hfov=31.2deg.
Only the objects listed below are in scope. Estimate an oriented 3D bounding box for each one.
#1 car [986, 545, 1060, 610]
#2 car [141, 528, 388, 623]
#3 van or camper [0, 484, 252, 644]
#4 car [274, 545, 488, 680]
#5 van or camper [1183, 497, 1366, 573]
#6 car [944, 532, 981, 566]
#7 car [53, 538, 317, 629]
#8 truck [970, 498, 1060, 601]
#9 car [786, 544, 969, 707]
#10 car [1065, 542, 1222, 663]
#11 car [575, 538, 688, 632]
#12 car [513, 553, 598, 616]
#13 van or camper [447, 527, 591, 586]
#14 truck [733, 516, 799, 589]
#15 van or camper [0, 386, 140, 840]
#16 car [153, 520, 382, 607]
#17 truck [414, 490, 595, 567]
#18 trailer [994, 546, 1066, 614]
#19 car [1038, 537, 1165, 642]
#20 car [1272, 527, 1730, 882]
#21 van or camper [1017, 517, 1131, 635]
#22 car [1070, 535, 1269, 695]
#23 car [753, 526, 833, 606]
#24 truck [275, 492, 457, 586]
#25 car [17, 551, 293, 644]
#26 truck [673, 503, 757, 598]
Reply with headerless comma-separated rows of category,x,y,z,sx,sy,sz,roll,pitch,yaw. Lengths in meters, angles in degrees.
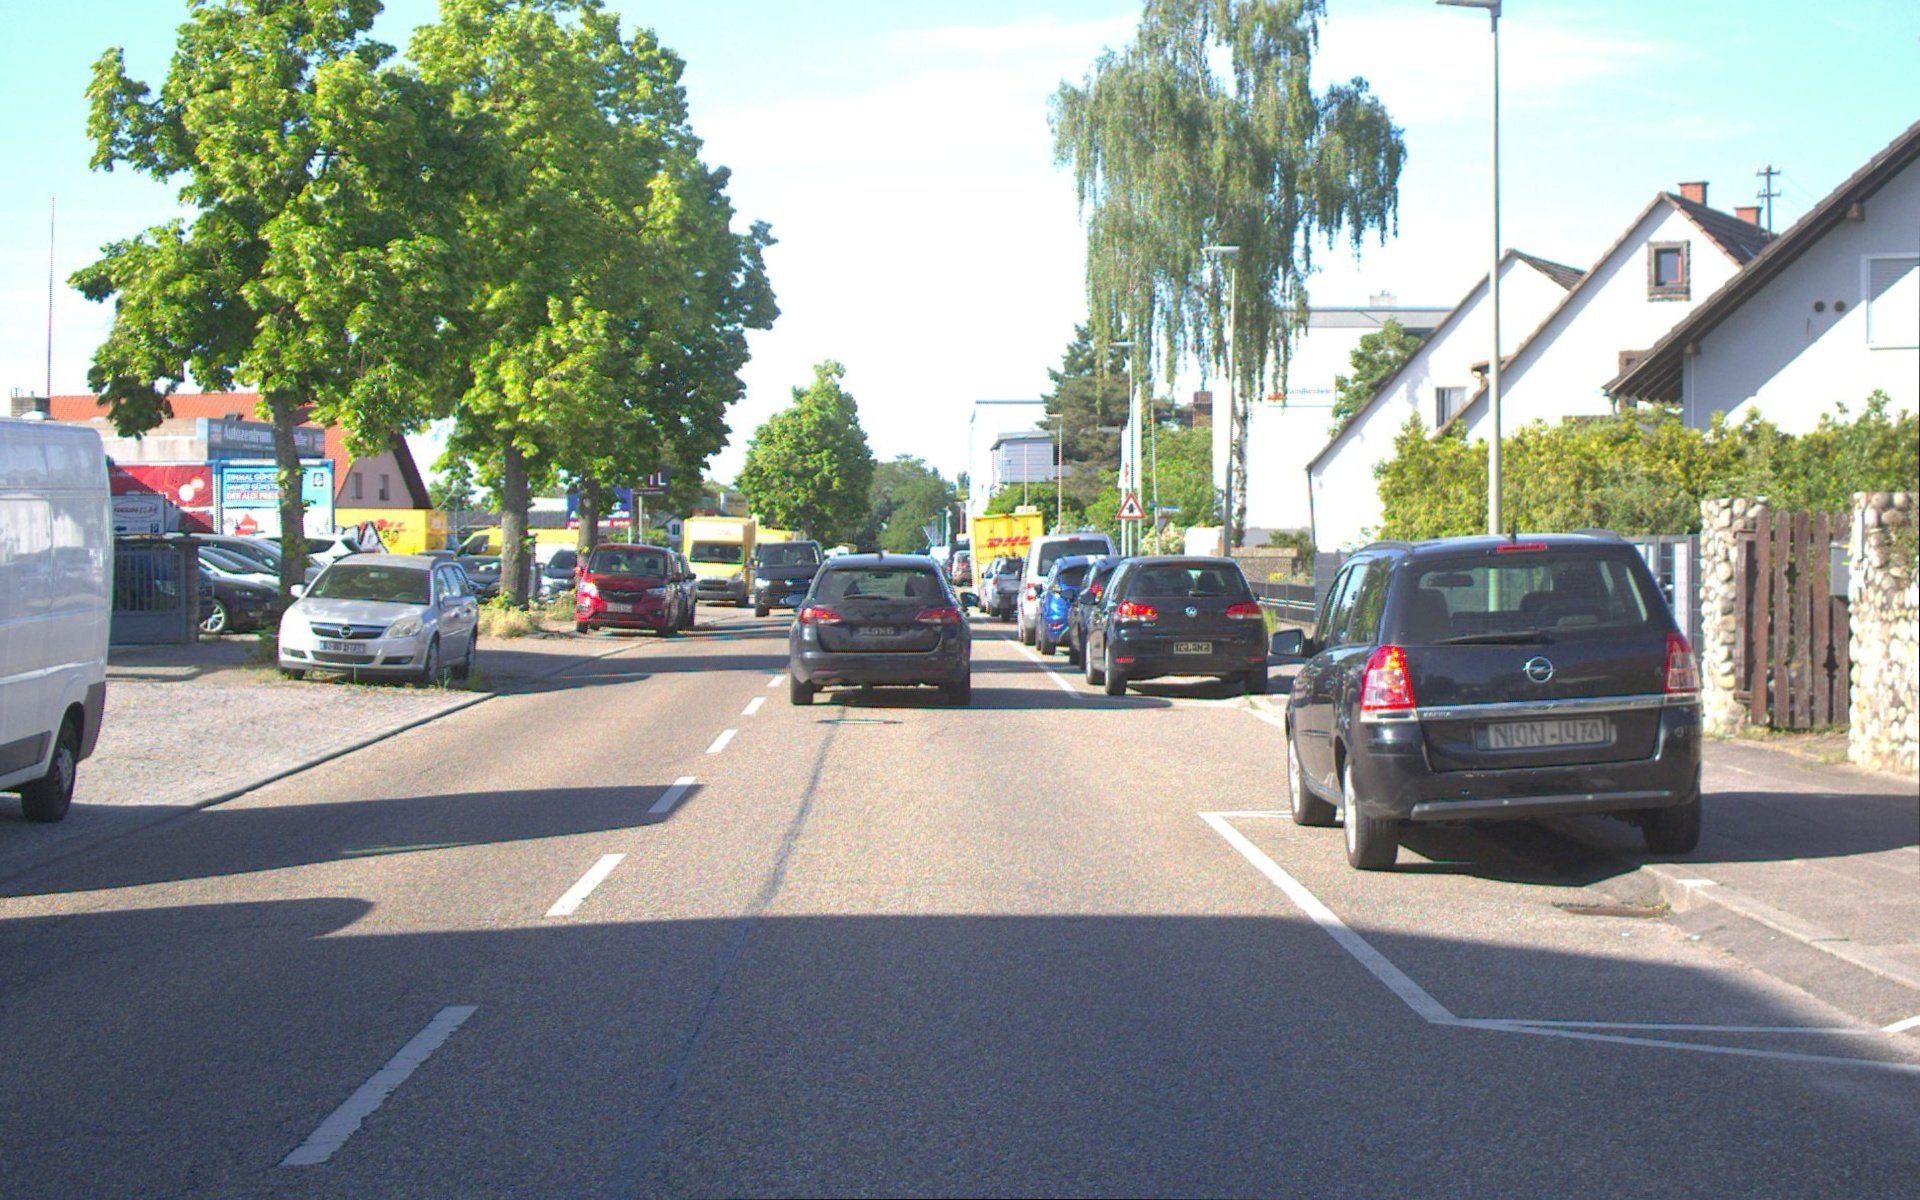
car,1.568,-0.578,84.613,1.674,1.537,4.043,1,1,3
car,-13.090,-0.456,64.820,4.249,1.746,1.765,0,1,3
van or camper,-13.373,-0.542,51.522,4.895,2.312,2.242,1,0,12
car,-6.780,0.104,40.618,1.687,1.430,4.209,2,1,1
van or camper,10.612,-2.179,115.910,5.812,2.532,2.290,-1,1,-26
car,0.139,-2.715,183.943,1.919,1.819,4.080,0,1,-1
car,-13.765,-0.305,61.205,4.249,1.536,1.766,0,2,4
truck,1.624,-1.513,103.934,2.402,2.926,7.016,-2,1,-1
car,-0.777,0.211,34.408,1.711,1.527,3.687,0,1,0
car,2.362,0.007,45.111,1.718,1.499,3.907,0,1,-2
car,-6.461,-0.321,68.012,1.803,1.746,4.342,2,1,0
car,-10.726,-0.400,91.381,1.861,1.584,4.276,0,-1,-1
van or camper,-15.235,-1.505,119.013,4.544,2.007,2.250,0,1,6
truck,-8.166,-1.998,145.459,2.402,2.973,6.374,2,1,0
van or camper,-6.301,0.027,19.239,2.122,2.481,5.556,3,1,-1
car,-14.122,-0.745,70.262,4.249,1.723,1.765,0,1,5
truck,-16.140,-2.543,121.976,5.924,2.559,2.223,2,1,11
trailer,1.605,-0.486,79.791,1.627,1.533,3.198,0,1,0
car,2.096,-0.178,51.781,1.719,1.499,3.563,1,1,0
car,2.741,0.455,18.334,1.776,1.653,4.303,1,1,1
van or camper,1.878,-0.415,57.756,1.719,1.884,4.180,1,1,0
car,2.240,0.120,37.706,1.775,1.653,3.817,1,1,-2
car,-4.421,-0.912,91.687,1.894,2.024,4.818,-2,1,0
truck,-20.739,-2.131,120.051,5.671,3.109,2.522,2,1,11
car,-13.725,-0.056,58.736,4.249,1.536,1.765,1,1,5
truck,-8.063,-1.613,113.697,2.402,2.973,7.246,2,1,-2
